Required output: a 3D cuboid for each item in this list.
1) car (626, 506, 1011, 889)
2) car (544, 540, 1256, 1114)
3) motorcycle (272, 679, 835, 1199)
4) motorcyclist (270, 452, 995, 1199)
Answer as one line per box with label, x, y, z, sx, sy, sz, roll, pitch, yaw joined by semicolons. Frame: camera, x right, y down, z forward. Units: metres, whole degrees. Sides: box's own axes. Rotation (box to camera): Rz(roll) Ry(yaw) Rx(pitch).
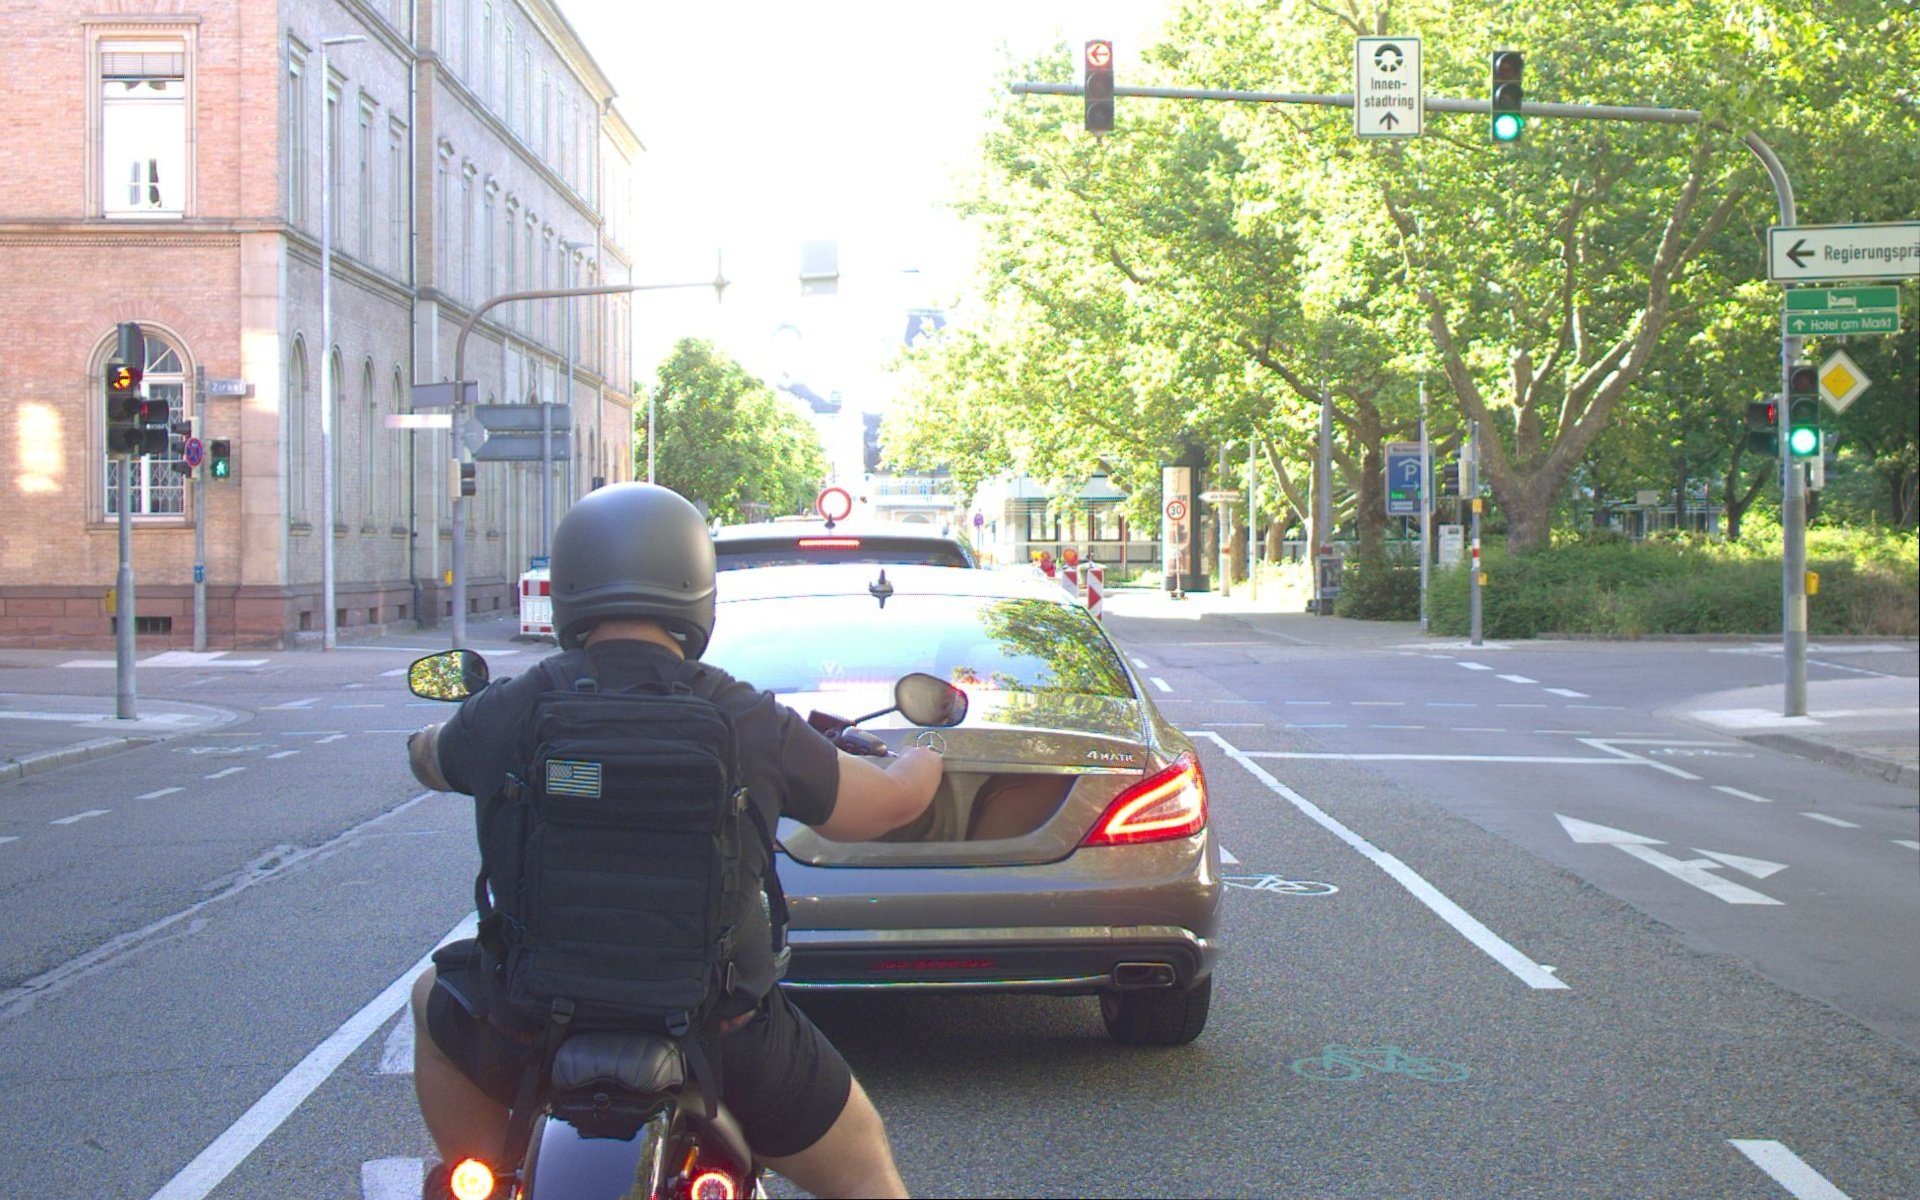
car;-0.637;0.407;16.973;1.651;1.646;4.000;1;1;-1
car;-0.406;0.571;11.127;1.824;1.481;4.334;1;1;-7
motorcycle;-0.561;0.780;5.422;0.660;1.236;2.058;1;1;-1
motorcyclist;-0.464;0.599;5.327;0.990;1.605;1.120;1;0;-1
